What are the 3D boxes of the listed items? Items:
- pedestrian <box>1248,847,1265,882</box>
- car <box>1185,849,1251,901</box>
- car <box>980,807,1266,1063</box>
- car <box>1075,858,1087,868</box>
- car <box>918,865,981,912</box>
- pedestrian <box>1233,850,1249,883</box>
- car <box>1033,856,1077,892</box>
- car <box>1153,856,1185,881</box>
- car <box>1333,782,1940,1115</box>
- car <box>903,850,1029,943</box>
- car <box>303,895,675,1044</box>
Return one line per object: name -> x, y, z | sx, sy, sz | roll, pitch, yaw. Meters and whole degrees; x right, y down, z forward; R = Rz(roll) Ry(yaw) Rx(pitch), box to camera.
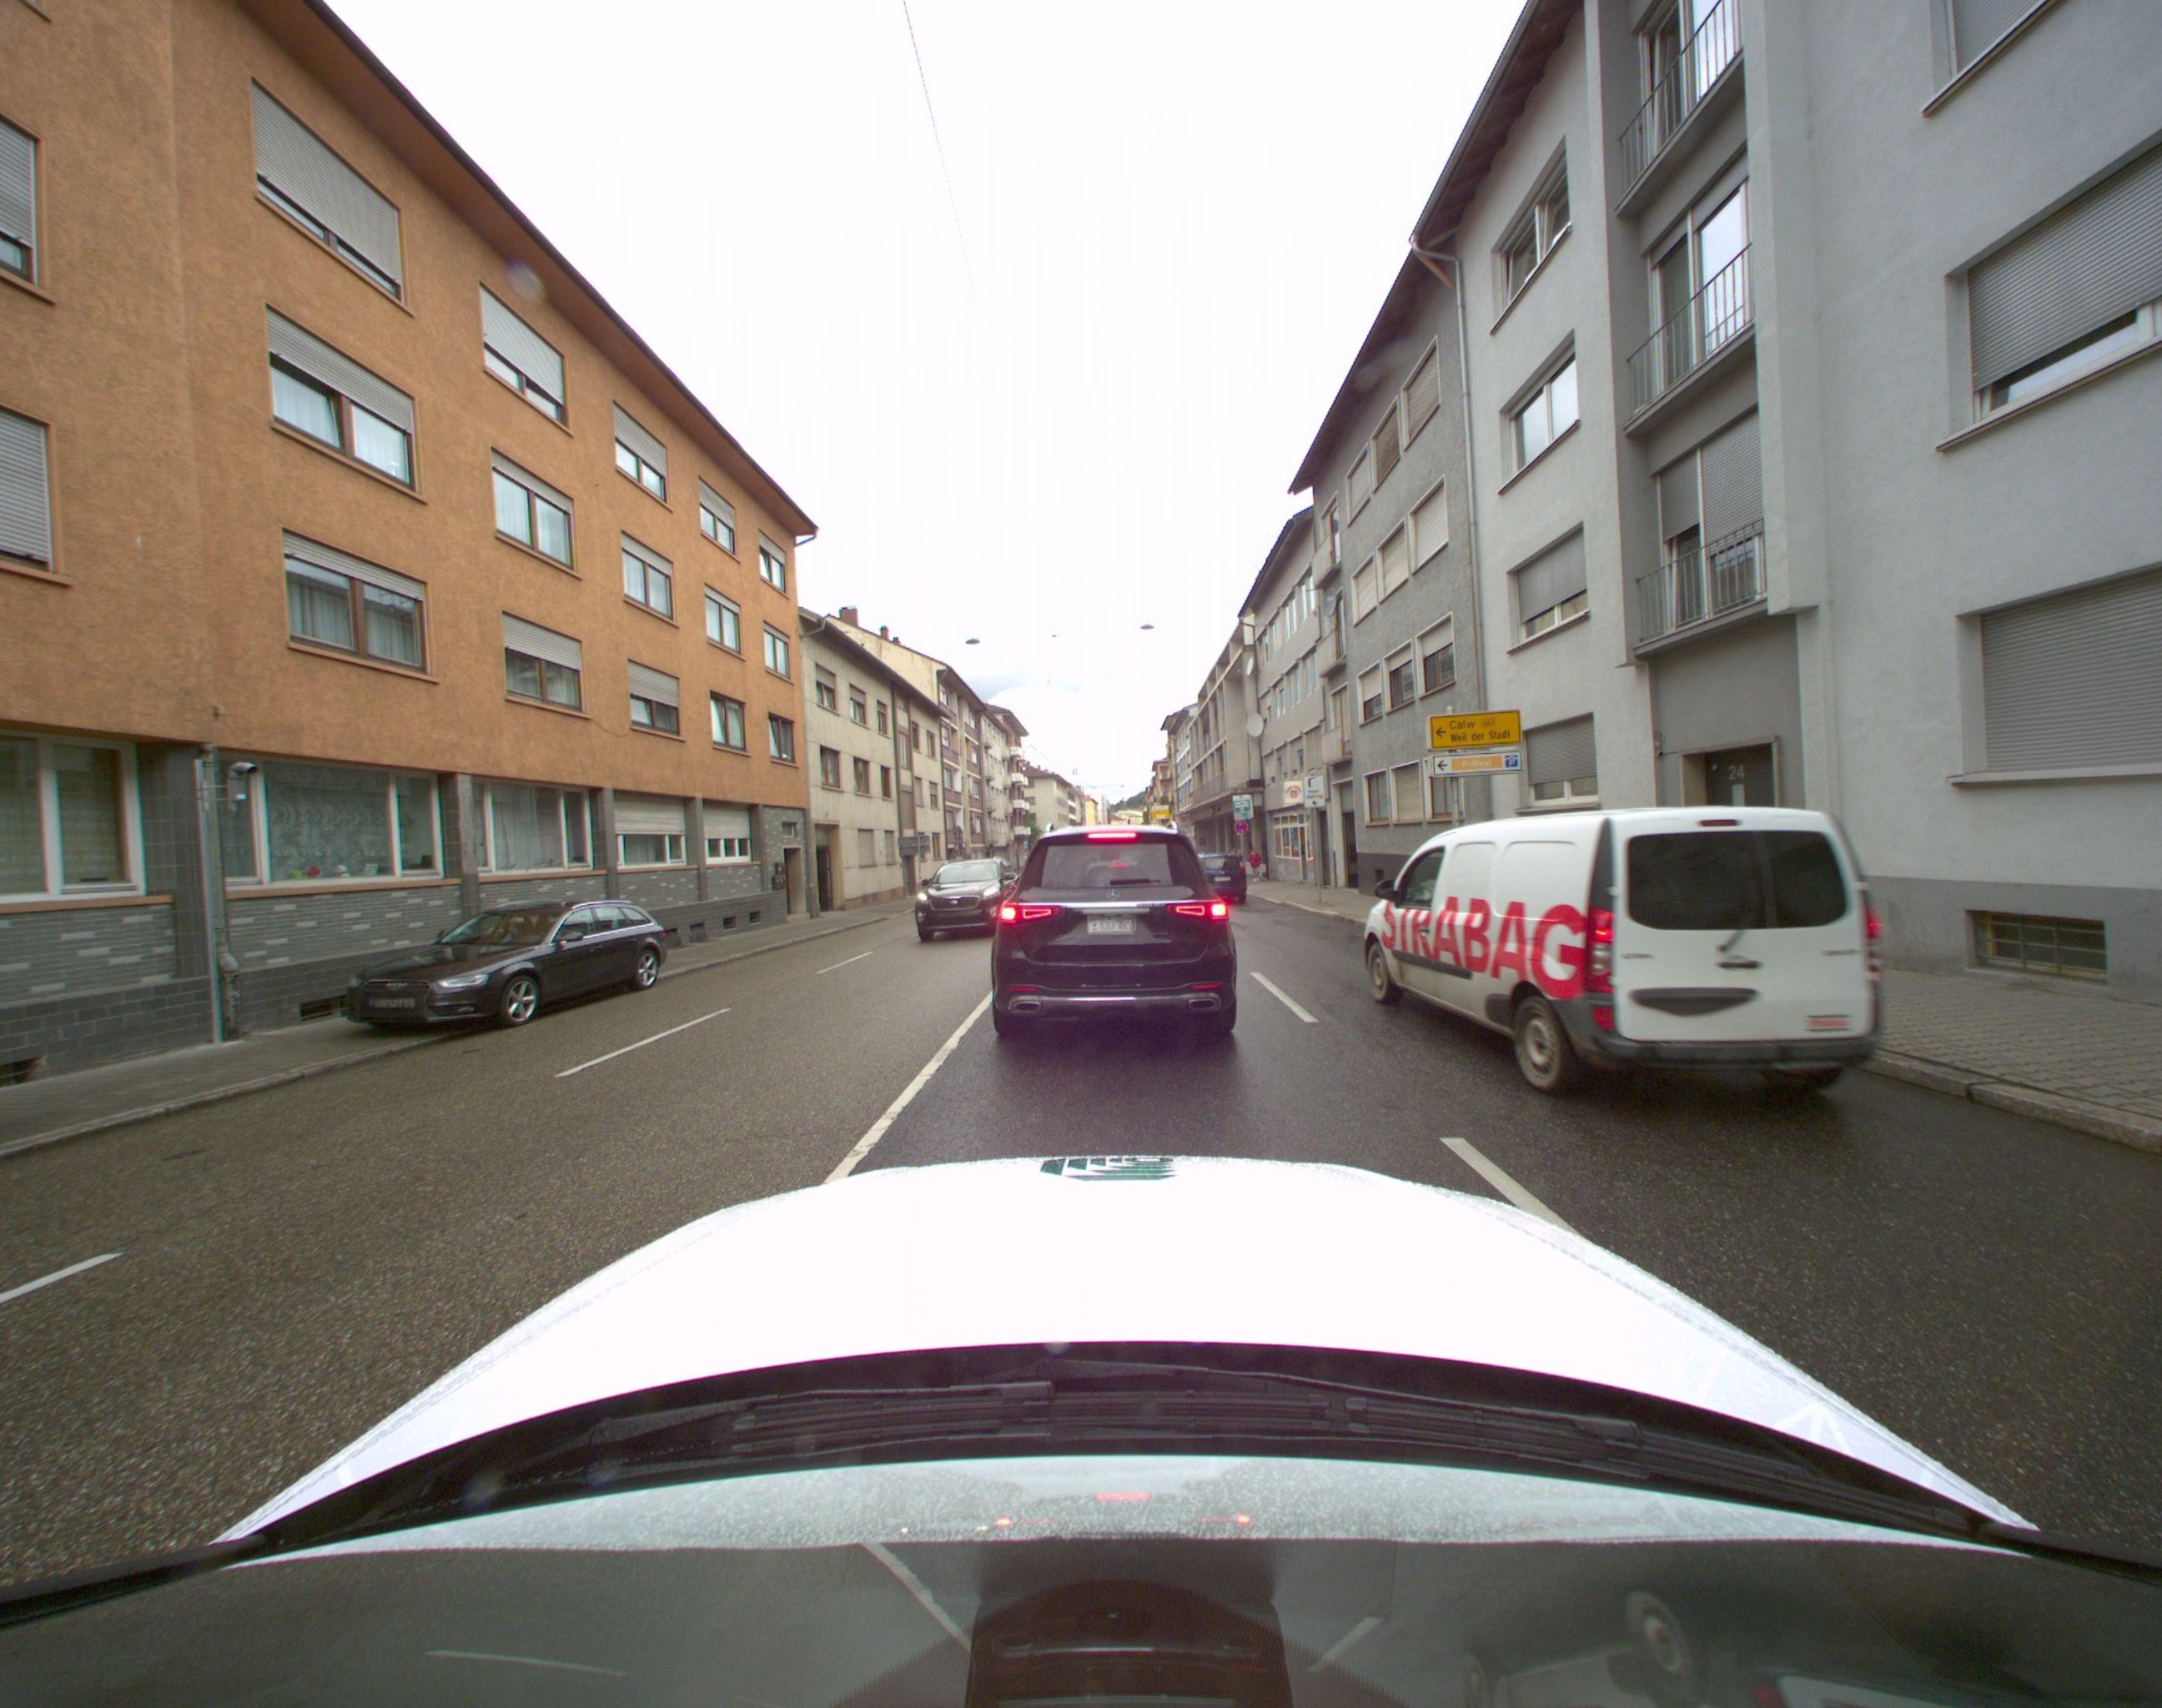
pedestrian -> 8.304, 0.479, 38.509 | 0.558, 1.578, 0.526 | -5, 0, 3
car -> 4.581, 0.673, 27.772 | 1.800, 1.606, 4.216 | -1, 0, 4
car -> 0.345, 0.575, 7.772 | 2.018, 1.806, 4.001 | 0, 0, 1
car -> 0.027, 1.317, 122.895 | 1.692, 1.390, 4.341 | -4, 0, 2
car -> -5.198, 1.328, 32.753 | 1.792, 1.584, 4.313 | -5, 0, -1
pedestrian -> 7.566, 0.585, 38.536 | 0.504, 1.500, 0.562 | -5, 0, 1
car -> -1.409, 1.090, 46.264 | 2.119, 1.720, 4.819 | -5, 0, 1
car -> 5.403, 0.858, 50.397 | 1.615, 1.430, 4.313 | 0, 0, 1
car -> 3.751, 0.520, 6.810 | 1.933, 1.775, 4.748 | -1, 0, 2
car -> -2.461, 0.855, 18.638 | 1.828, 1.727, 4.479 | -5, 0, 4
car -> -7.738, 1.403, 11.350 | 1.789, 1.438, 4.528 | 0, 0, 1
